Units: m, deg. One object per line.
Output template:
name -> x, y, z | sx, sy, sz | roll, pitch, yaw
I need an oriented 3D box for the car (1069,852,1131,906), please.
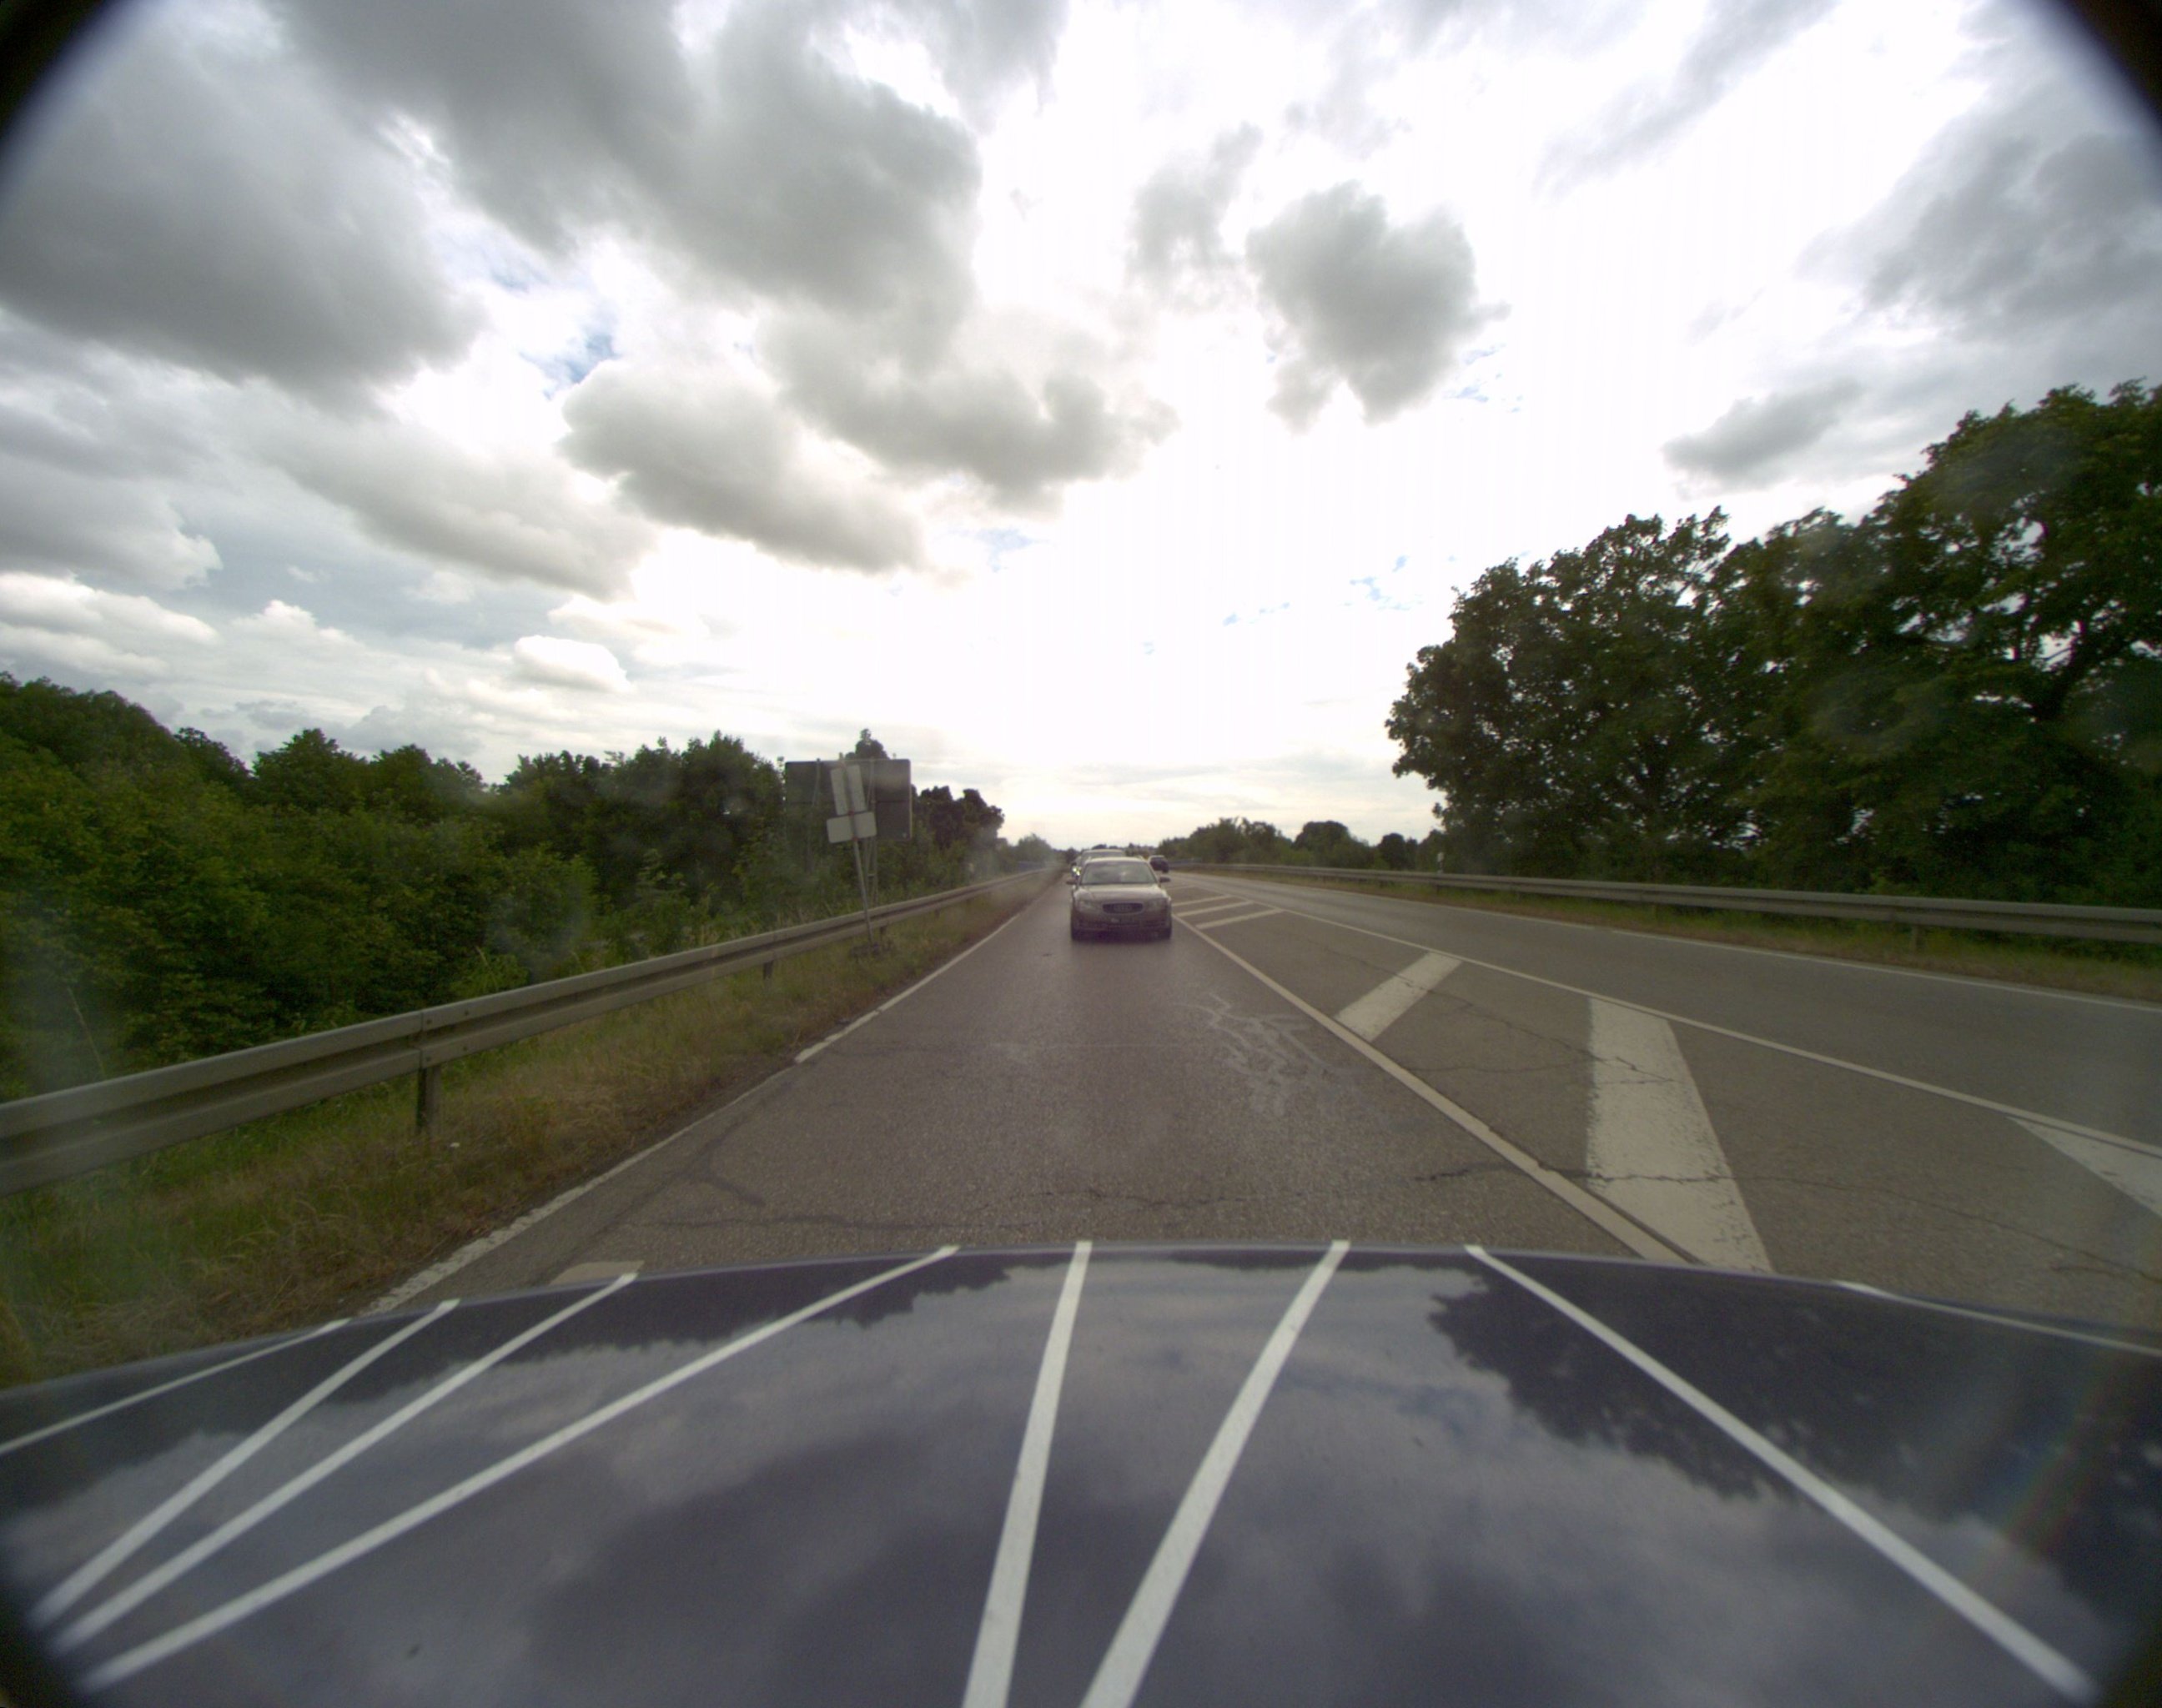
car -> 0.595, 0.744, 24.706 | 1.834, 1.538, 4.034 | -1, 0, 1

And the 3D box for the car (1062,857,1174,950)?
car -> 0.635, 0.821, 14.380 | 1.784, 1.442, 4.034 | -1, 0, 1

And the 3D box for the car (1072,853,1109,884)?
car -> 0.504, 0.721, 40.372 | 1.834, 1.538, 4.034 | -1, 0, 1

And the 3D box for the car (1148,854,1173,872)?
car -> 7.145, 0.796, 68.818 | 1.834, 1.538, 4.034 | -1, 0, 1
